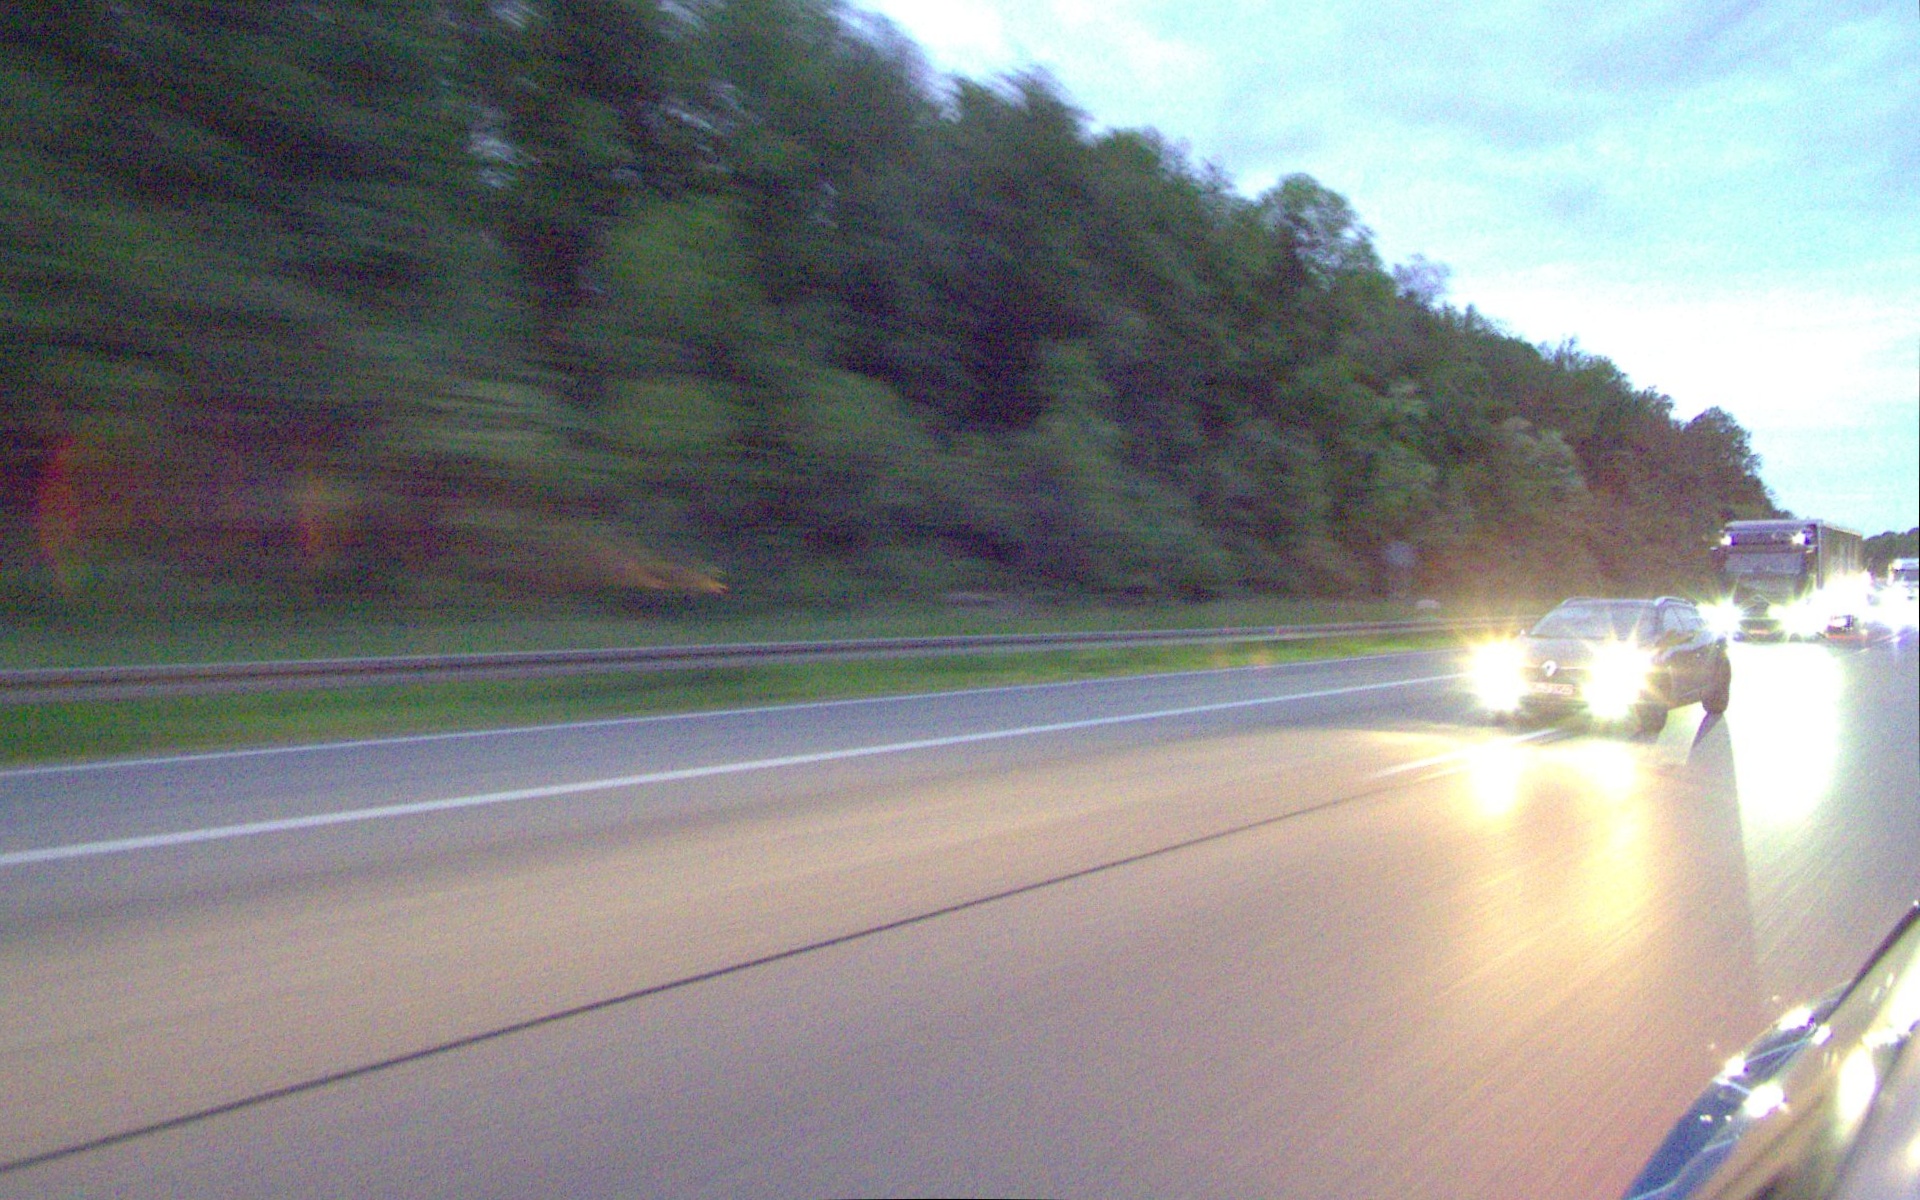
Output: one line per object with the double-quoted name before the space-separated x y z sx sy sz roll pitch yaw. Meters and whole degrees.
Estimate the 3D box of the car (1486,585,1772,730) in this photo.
"car" 8.594 0.599 12.810 4.860 1.509 1.695 0 0 -40

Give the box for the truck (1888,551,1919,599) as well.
"truck" 85.253 -2.235 89.972 13.316 4.017 3.335 -2 1 -44

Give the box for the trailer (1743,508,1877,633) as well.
"trailer" 32.765 -1.124 38.720 13.282 4.124 2.485 -2 1 -44

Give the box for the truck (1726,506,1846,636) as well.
"truck" 27.801 -0.961 33.984 5.499 4.017 2.494 -2 1 -44
